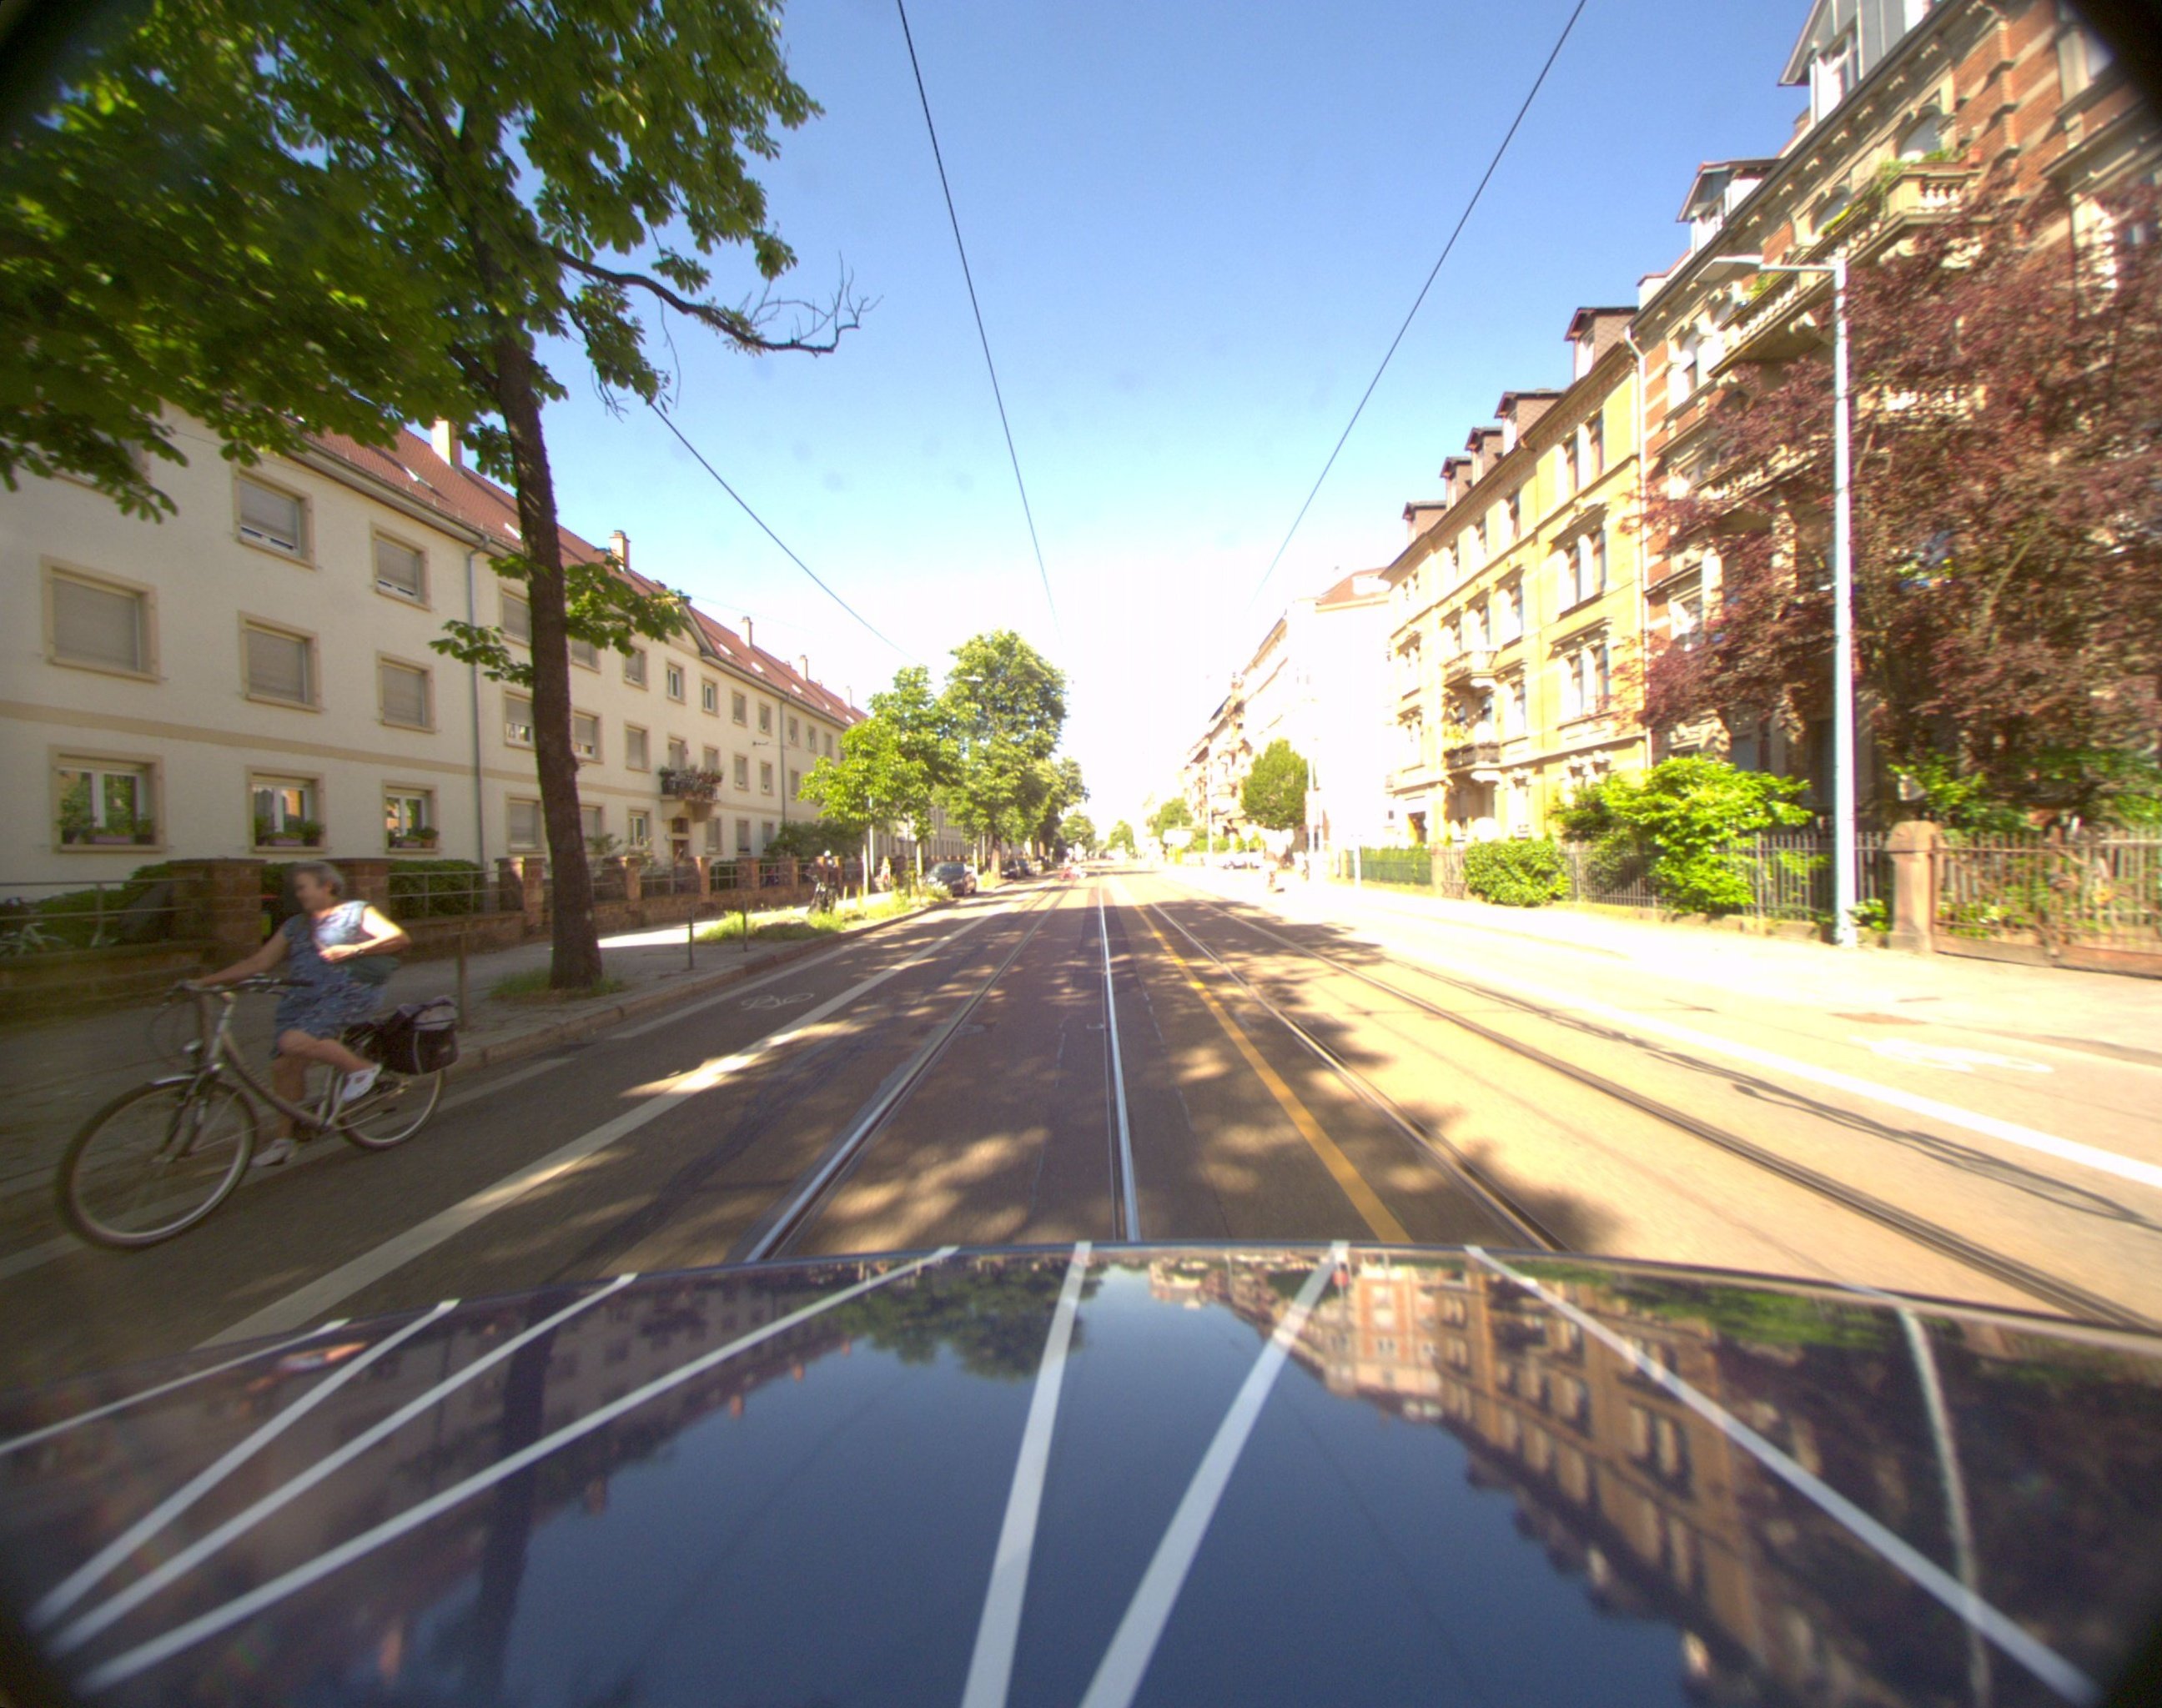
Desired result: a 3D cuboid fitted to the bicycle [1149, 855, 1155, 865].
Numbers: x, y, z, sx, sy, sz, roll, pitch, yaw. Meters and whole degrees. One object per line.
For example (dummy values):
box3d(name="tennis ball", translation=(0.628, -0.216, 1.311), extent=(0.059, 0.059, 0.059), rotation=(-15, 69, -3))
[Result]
box3d(name="bicycle", translation=(7.218, 0.593, 77.173), extent=(0.461, 0.920, 2.203), rotation=(0, 0, 1))

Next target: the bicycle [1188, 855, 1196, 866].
box3d(name="bicycle", translation=(11.228, 0.650, 76.865), extent=(0.564, 1.027, 1.767), rotation=(-3, 0, 1))

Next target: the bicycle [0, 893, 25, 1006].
box3d(name="bicycle", translation=(-12.000, 1.050, 7.756), extent=(0.435, 1.216, 1.373), rotation=(-2, 0, 1))

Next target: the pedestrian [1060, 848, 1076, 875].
box3d(name="pedestrian", translation=(-0.857, 0.513, 49.828), extent=(0.602, 1.760, 0.911), rotation=(1, 0, -29))

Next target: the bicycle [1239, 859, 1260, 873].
box3d(name="bicycle", translation=(11.633, 0.818, 52.447), extent=(1.297, 0.909, 0.619), rotation=(-3, 2, -34))

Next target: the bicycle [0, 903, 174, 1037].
box3d(name="bicycle", translation=(-10.753, 1.188, 8.104), extent=(0.435, 1.216, 1.373), rotation=(-2, 0, 1))

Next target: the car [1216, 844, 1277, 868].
box3d(name="car", translation=(13.165, 0.150, 60.596), extent=(4.456, 1.634, 1.967), rotation=(-3, 1, 4))

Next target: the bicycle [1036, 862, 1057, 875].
box3d(name="bicycle", translation=(-3.030, 1.239, 66.592), extent=(1.765, 1.071, 0.433), rotation=(-3, 1, 2))

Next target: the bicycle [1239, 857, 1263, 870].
box3d(name="bicycle", translation=(12.521, 0.679, 55.975), extent=(1.791, 0.909, 0.619), rotation=(-3, 2, -34))

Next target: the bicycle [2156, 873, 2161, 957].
box3d(name="bicycle", translation=(13.056, 0.680, 8.619), extent=(1.150, 0.966, 0.295), rotation=(-3, 1, 5))

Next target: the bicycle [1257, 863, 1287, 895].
box3d(name="bicycle", translation=(6.985, 0.903, 27.865), extent=(0.693, 1.106, 1.718), rotation=(0, 0, 1))

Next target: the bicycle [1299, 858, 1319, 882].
box3d(name="bicycle", translation=(10.112, 0.711, 33.767), extent=(0.336, 0.995, 1.870), rotation=(-3, 0, 1))

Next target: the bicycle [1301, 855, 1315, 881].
box3d(name="bicycle", translation=(10.316, 0.625, 34.584), extent=(0.371, 1.119, 0.809), rotation=(-3, 0, 1))

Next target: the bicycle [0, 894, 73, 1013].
box3d(name="bicycle", translation=(-11.492, 1.060, 7.778), extent=(0.435, 1.216, 1.373), rotation=(-2, 0, 1))

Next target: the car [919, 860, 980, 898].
box3d(name="car", translation=(-5.505, 1.003, 32.289), extent=(1.791, 1.455, 4.044), rotation=(-1, 0, 1))

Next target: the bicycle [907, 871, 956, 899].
box3d(name="bicycle", translation=(-5.820, 1.218, 29.583), extent=(1.798, 1.061, 0.620), rotation=(0, 0, -4))

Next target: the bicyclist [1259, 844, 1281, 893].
box3d(name="bicyclist", translation=(6.985, 0.535, 28.063), extent=(0.662, 1.791, 0.616), rotation=(1, 1, 1))

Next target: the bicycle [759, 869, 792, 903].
box3d(name="bicycle", translation=(-11.049, 1.144, 27.505), extent=(0.442, 1.146, 1.574), rotation=(-3, 0, 1))

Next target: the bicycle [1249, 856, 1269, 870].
box3d(name="bicycle", translation=(12.764, 0.631, 54.473), extent=(1.297, 0.909, 0.619), rotation=(-3, 2, -34))

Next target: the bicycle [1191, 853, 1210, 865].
box3d(name="bicycle", translation=(10.911, 0.476, 69.383), extent=(0.566, 1.027, 1.763), rotation=(-3, -1, -35))

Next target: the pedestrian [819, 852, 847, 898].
box3d(name="pedestrian", translation=(-9.635, 0.819, 29.492), extent=(0.763, 1.714, 0.581), rotation=(-2, 1, 31))

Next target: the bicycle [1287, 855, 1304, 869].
box3d(name="bicycle", translation=(15.764, 0.592, 55.799), extent=(1.545, 0.909, 0.246), rotation=(-3, 2, -34))

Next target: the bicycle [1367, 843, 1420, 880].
box3d(name="bicycle", translation=(12.102, 0.291, 29.455), extent=(1.768, 1.313, 0.613), rotation=(-3, 1, -8))

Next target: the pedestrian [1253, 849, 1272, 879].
box3d(name="pedestrian", translation=(10.581, 0.566, 44.315), extent=(0.831, 1.714, 1.082), rotation=(-3, 1, 5))

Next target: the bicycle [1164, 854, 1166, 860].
box3d(name="bicycle", translation=(13.404, 0.468, 121.040), extent=(0.342, 0.920, 1.943), rotation=(-3, 0, 6))

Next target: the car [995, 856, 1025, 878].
box3d(name="car", translation=(-4.939, 0.892, 53.306), extent=(1.724, 1.465, 4.246), rotation=(0, 0, 0))

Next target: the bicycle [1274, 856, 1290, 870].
box3d(name="bicycle", translation=(14.236, 0.627, 53.834), extent=(0.619, 0.909, 1.297), rotation=(0, 2, 40))

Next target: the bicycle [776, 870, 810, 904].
box3d(name="bicycle", translation=(-10.430, 1.187, 27.563), extent=(0.449, 1.146, 1.917), rotation=(-1, 0, 1))

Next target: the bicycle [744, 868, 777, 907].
box3d(name="bicycle", translation=(-10.922, 1.124, 25.920), extent=(0.349, 1.254, 1.425), rotation=(-3, 0, 6))

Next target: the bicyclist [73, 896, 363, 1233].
box3d(name="bicyclist", translation=(-4.169, 0.966, 3.723), extent=(0.637, 1.459, 0.616), rotation=(-3, 1, 1))

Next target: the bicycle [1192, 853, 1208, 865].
box3d(name="bicycle", translation=(11.143, 0.439, 71.087), extent=(0.565, 1.027, 1.765), rotation=(-6, 0, -23))

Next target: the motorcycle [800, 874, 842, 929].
box3d(name="motorcycle", translation=(-6.151, 1.089, 18.074), extent=(0.496, 1.184, 1.861), rotation=(2, 0, -6))

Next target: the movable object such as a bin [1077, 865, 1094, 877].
box3d(name="movable object such as a bin", translation=(0.292, 1.119, 49.705), extent=(0.921, 0.739, 0.668), rotation=(2, 1, 25))

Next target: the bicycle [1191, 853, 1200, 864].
box3d(name="bicycle", translation=(11.238, 0.477, 74.830), extent=(0.564, 1.027, 1.767), rotation=(-3, 0, 1))

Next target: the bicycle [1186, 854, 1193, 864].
box3d(name="bicycle", translation=(11.540, 0.520, 80.793), extent=(0.564, 1.027, 1.768), rotation=(-3, -1, 2))

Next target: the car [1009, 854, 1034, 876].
box3d(name="car", translation=(-4.942, 0.859, 63.512), extent=(1.670, 1.750, 4.231), rotation=(-2, 0, 0))

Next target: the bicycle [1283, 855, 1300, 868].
box3d(name="bicycle", translation=(15.541, 0.568, 56.037), extent=(1.545, 0.909, 0.246), rotation=(-3, 2, -34))

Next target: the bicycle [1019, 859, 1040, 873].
box3d(name="bicycle", translation=(-4.544, 1.063, 67.141), extent=(1.765, 1.071, 0.433), rotation=(-3, 1, 2))

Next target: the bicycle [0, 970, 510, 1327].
box3d(name="bicycle", translation=(-4.111, 1.326, 3.982), extent=(0.693, 1.106, 1.917), rotation=(-3, 0, 1))
